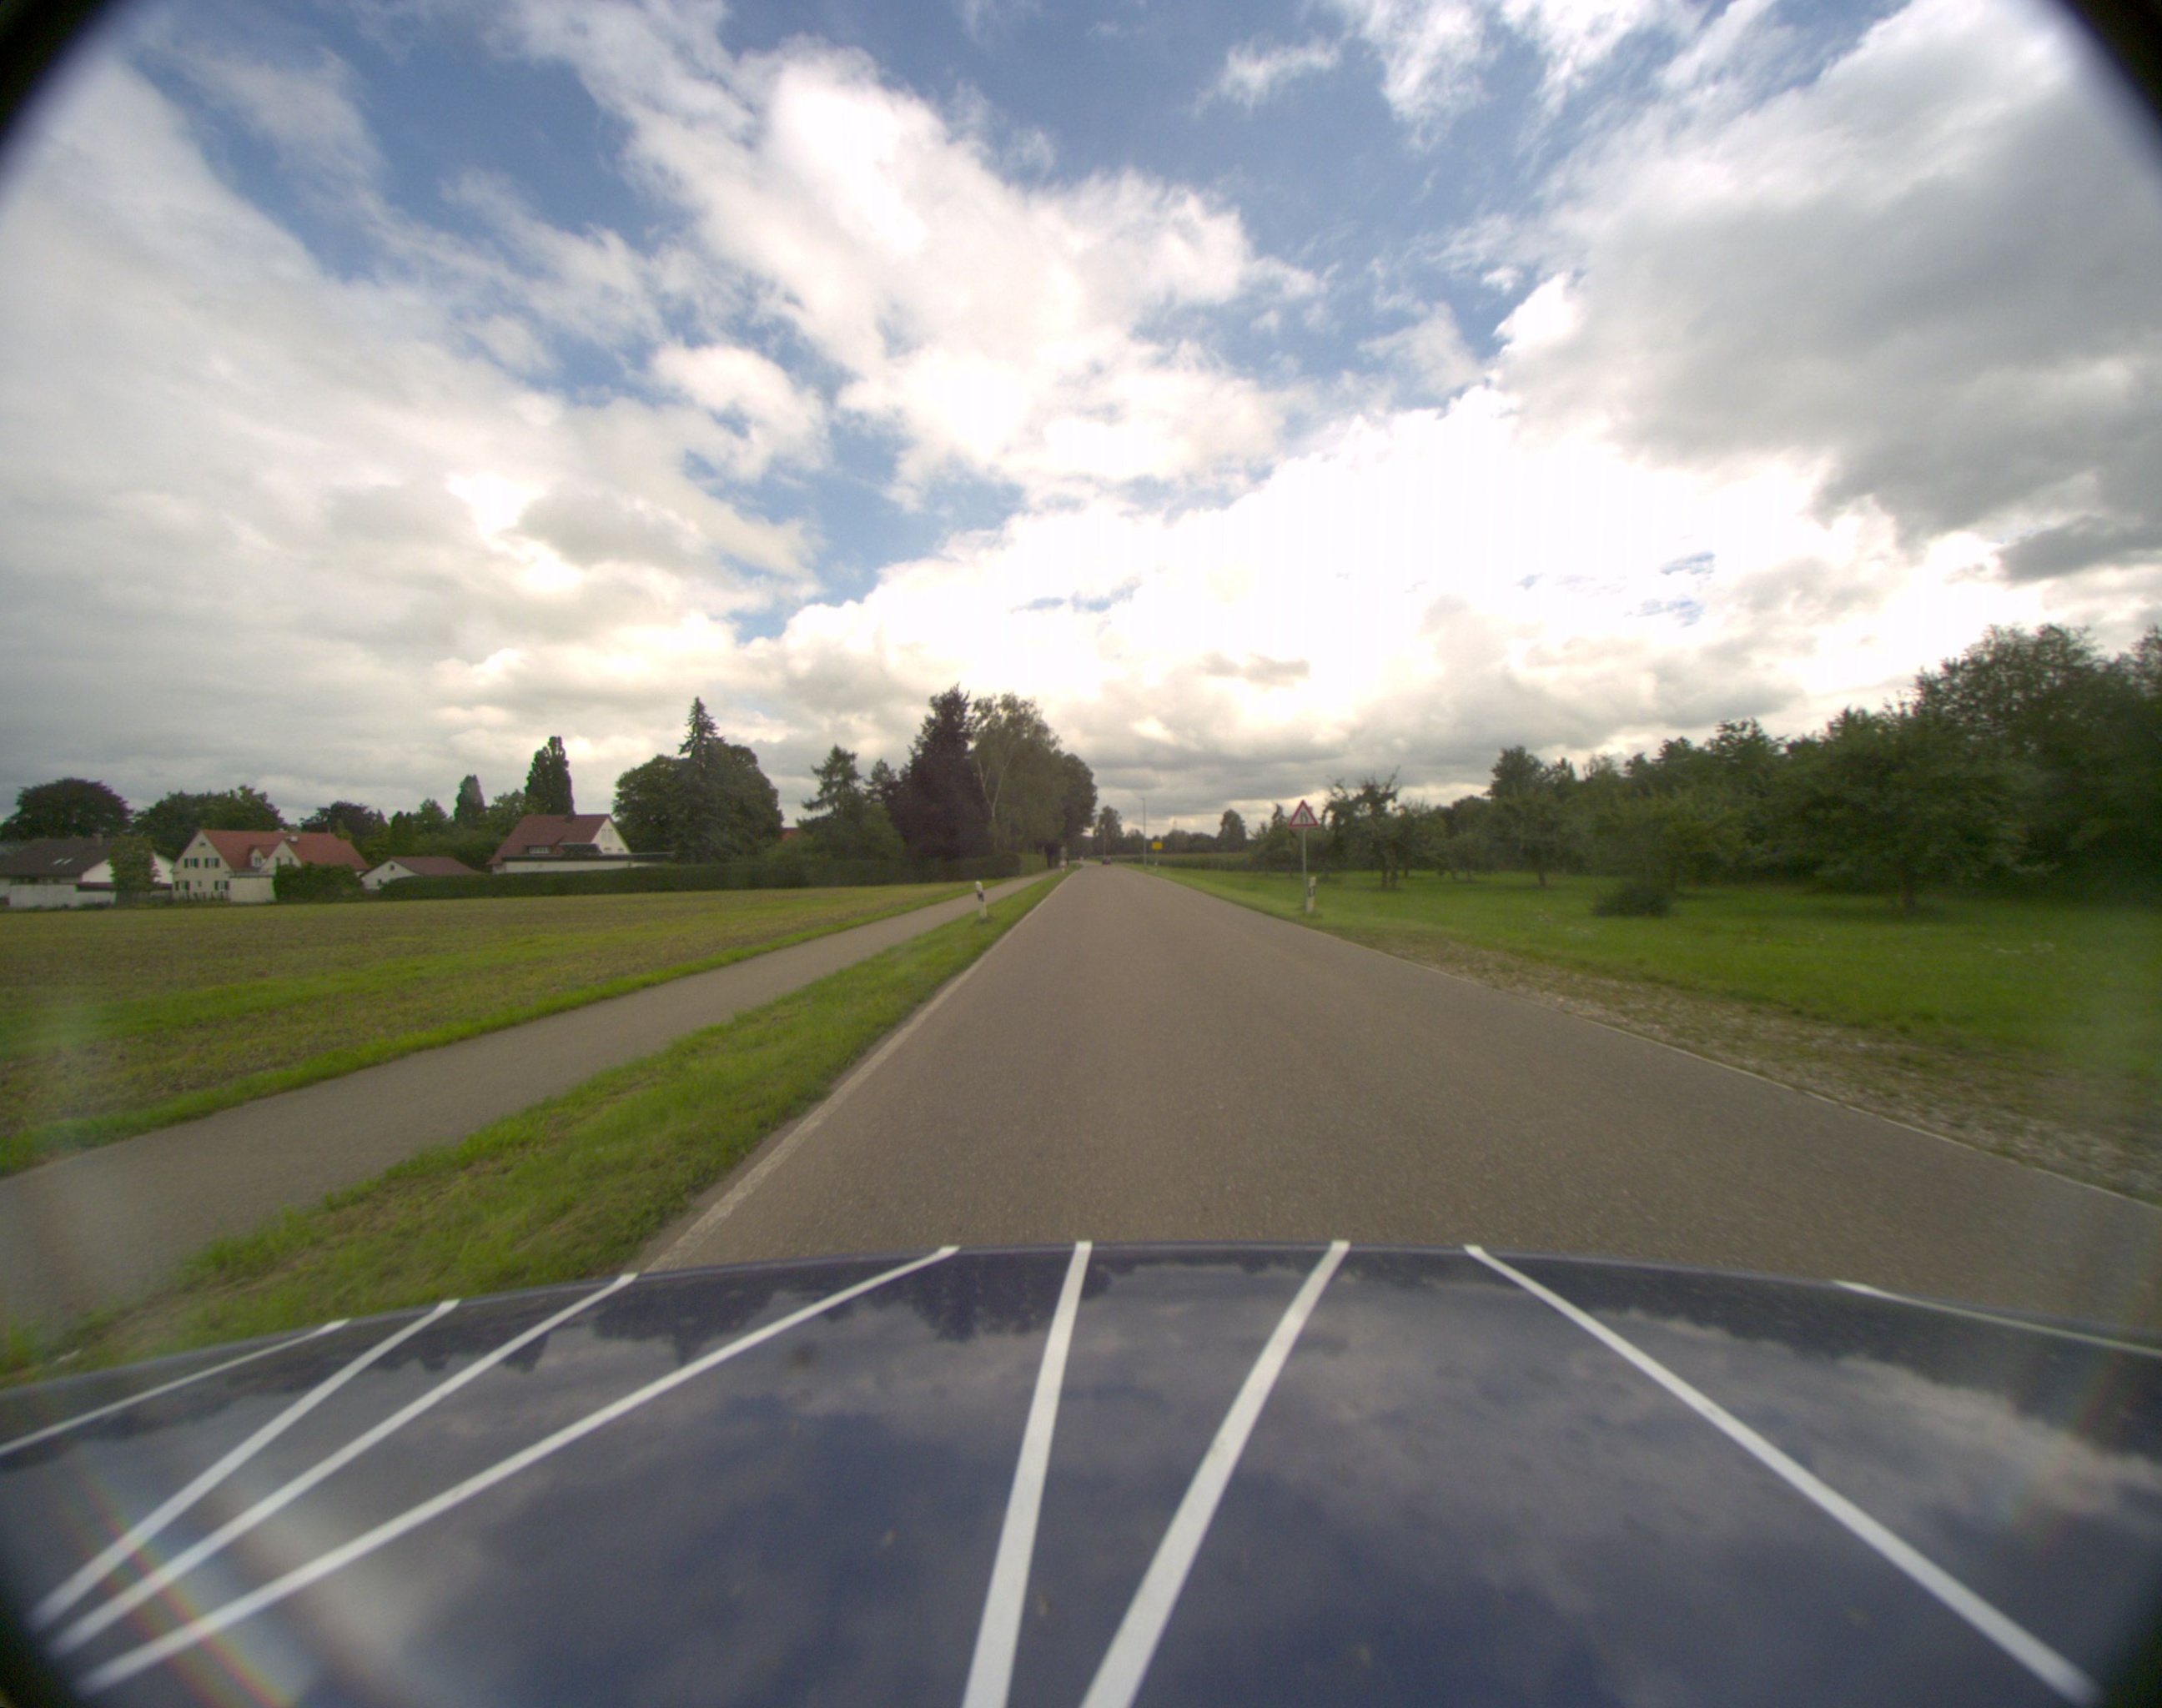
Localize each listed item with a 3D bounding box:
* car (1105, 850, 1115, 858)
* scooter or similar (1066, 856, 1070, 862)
[{"bbox_3d":[5.671,-0.097,151.157,1.868,1.543,4.182,1,0,1],"label":"car"},{"bbox_3d":[-2.396,0.965,142.148,0.650,1.157,1.695,-2,0,1],"label":"scooter or similar"}]
